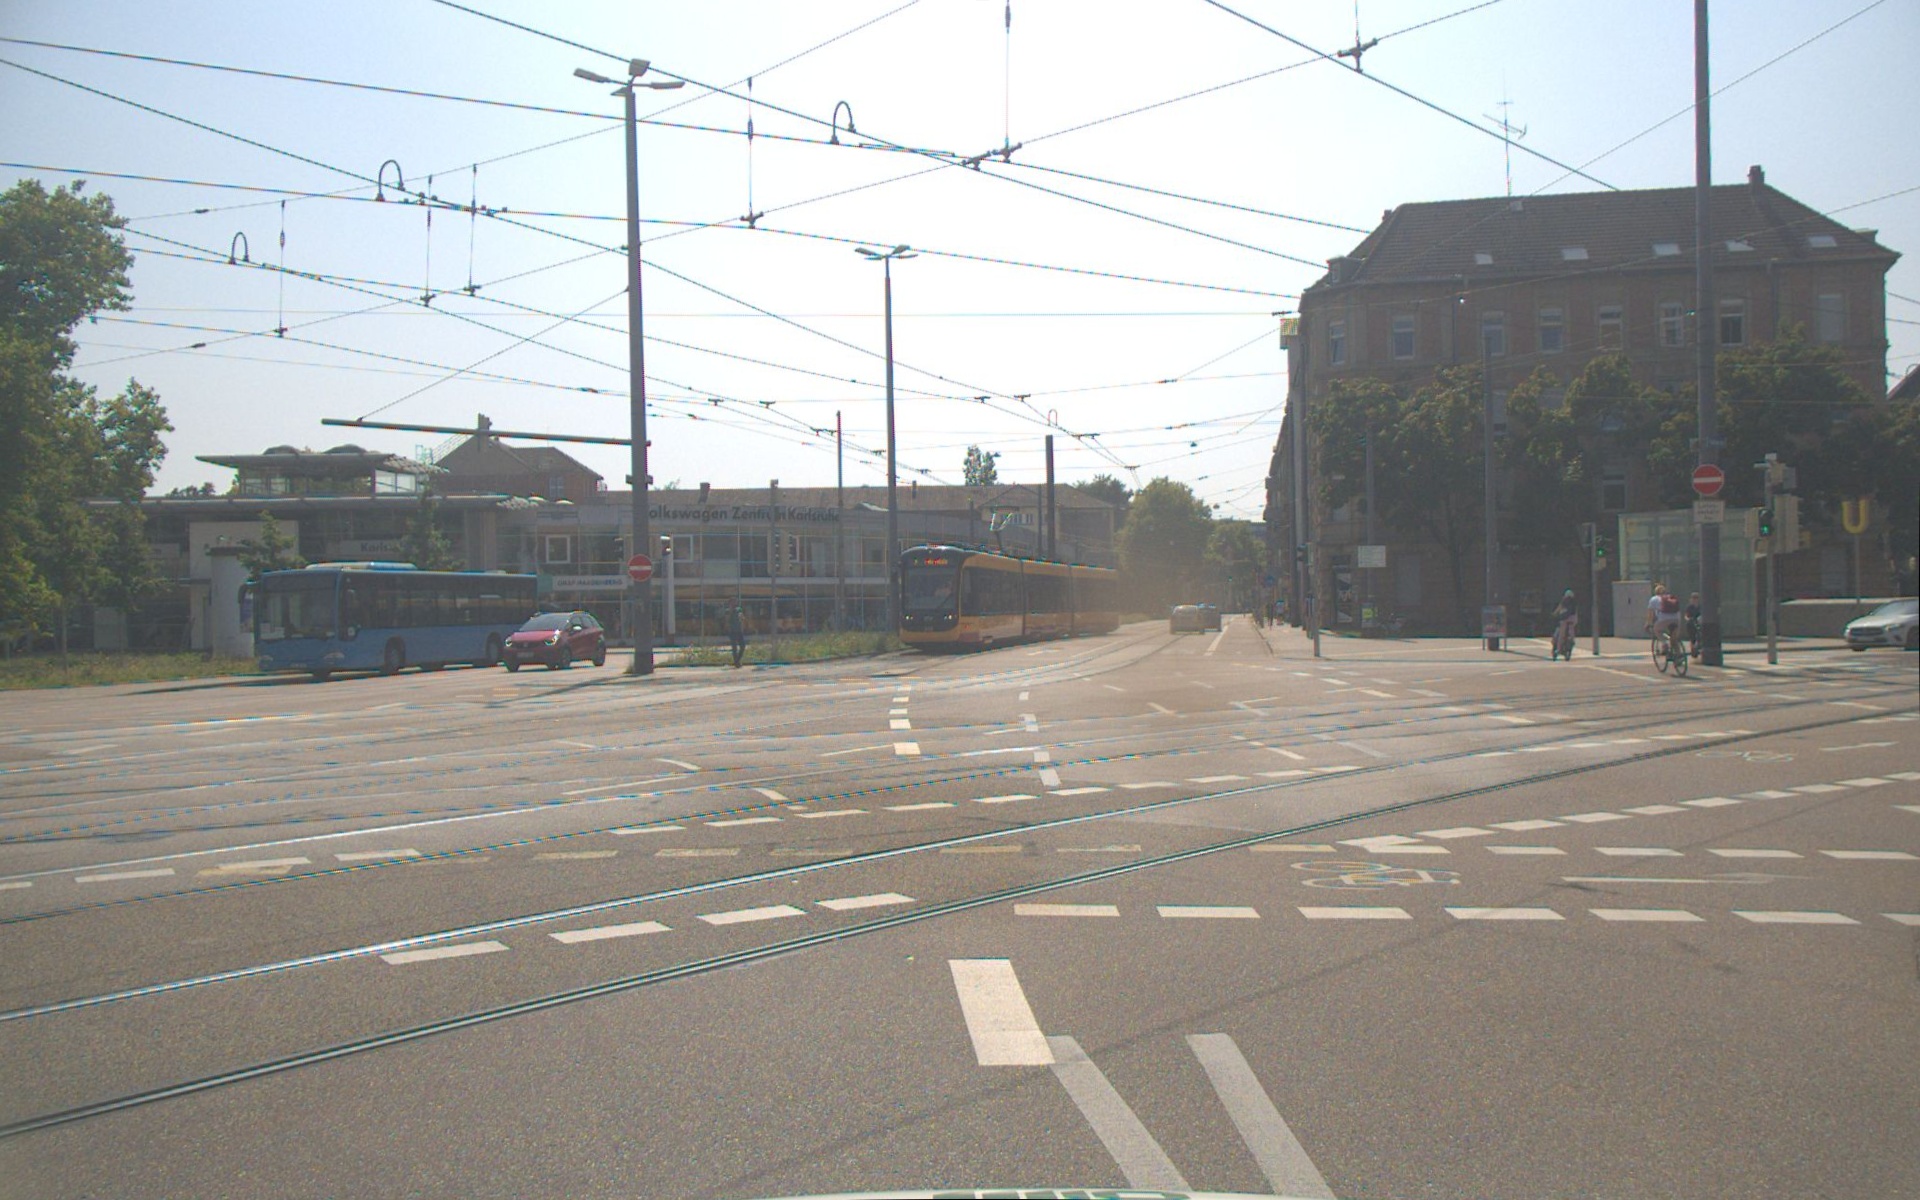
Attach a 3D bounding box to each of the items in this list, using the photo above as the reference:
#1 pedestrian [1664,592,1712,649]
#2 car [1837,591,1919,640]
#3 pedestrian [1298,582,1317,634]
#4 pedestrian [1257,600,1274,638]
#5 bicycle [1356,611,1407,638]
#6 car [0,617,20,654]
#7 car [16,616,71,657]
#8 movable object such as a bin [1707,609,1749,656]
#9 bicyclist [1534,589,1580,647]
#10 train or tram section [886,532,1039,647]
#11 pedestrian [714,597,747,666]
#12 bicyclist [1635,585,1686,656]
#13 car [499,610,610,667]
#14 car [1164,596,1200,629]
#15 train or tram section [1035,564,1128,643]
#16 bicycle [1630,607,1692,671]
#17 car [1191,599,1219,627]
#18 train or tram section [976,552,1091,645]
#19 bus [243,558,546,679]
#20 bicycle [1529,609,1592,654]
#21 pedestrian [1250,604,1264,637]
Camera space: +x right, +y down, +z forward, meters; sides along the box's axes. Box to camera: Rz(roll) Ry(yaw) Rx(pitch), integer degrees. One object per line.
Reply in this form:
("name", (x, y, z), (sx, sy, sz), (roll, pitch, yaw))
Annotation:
("pedestrian", (17.874, 0.499, 40.607), (0.705, 1.375, 0.813), (-1, 0, -14))
("car", (26.204, 0.464, 46.084), (3.680, 1.311, 1.570), (1, -1, -33))
("pedestrian", (13.939, 0.328, 66.355), (0.635, 2.049, 0.704), (-1, -1, 7))
("pedestrian", (16.740, 1.026, 90.590), (0.821, 2.049, 0.810), (0, -1, 2))
("bicycle", (15.625, 0.921, 61.357), (1.745, 0.974, 0.462), (-1, -1, 4))
("car", (-48.117, 1.745, 80.138), (1.677, 1.784, 4.254), (-1, 0, 28))
("car", (-47.826, 1.877, 86.420), (2.299, 2.049, 6.746), (1, -1, -28))
("movable object such as a bin", (18.341, 0.771, 39.499), (0.801, 1.104, 1.038), (0, -1, 19))
("bicyclist", (14.116, 0.415, 39.137), (0.731, 1.343, 0.921), (-1, -1, 0))
("train or tram section", (0.339, -0.210, 58.578), (2.532, 3.623, 12.225), (0, -1, 14))
("pedestrian", (-5.837, 0.801, 42.067), (0.787, 1.717, 0.718), (-1, -1, -8))
("bicyclist", (12.762, 0.368, 30.139), (0.643, 1.276, 0.644), (-1, -1, 0))
("car", (-11.275, 1.040, 46.194), (1.590, 1.497, 3.775), (-1, 0, 10))
("car", (11.415, 0.661, 85.275), (1.695, 1.601, 3.614), (0, -1, 6))
("train or tram section", (6.197, 0.294, 82.298), (2.532, 3.623, 12.225), (0, -1, 14))
("bicycle", (12.781, 0.694, 30.185), (0.431, 1.131, 1.643), (-1, 0, 1))
("car", (14.096, 0.736, 95.207), (1.477, 1.537, 3.626), (-1, 0, 7))
("train or tram section", (3.357, 0.051, 70.889), (2.532, 3.623, 12.225), (0, -1, 14))
("bus", (-16.228, 0.509, 48.958), (2.667, 3.118, 12.092), (-1, 0, 12))
("bicycle", (14.137, 0.723, 39.018), (0.631, 1.016, 2.375), (-1, 0, 1))
("pedestrian", (18.434, 1.271, 102.738), (0.774, 2.049, 0.810), (0, -1, 2))
